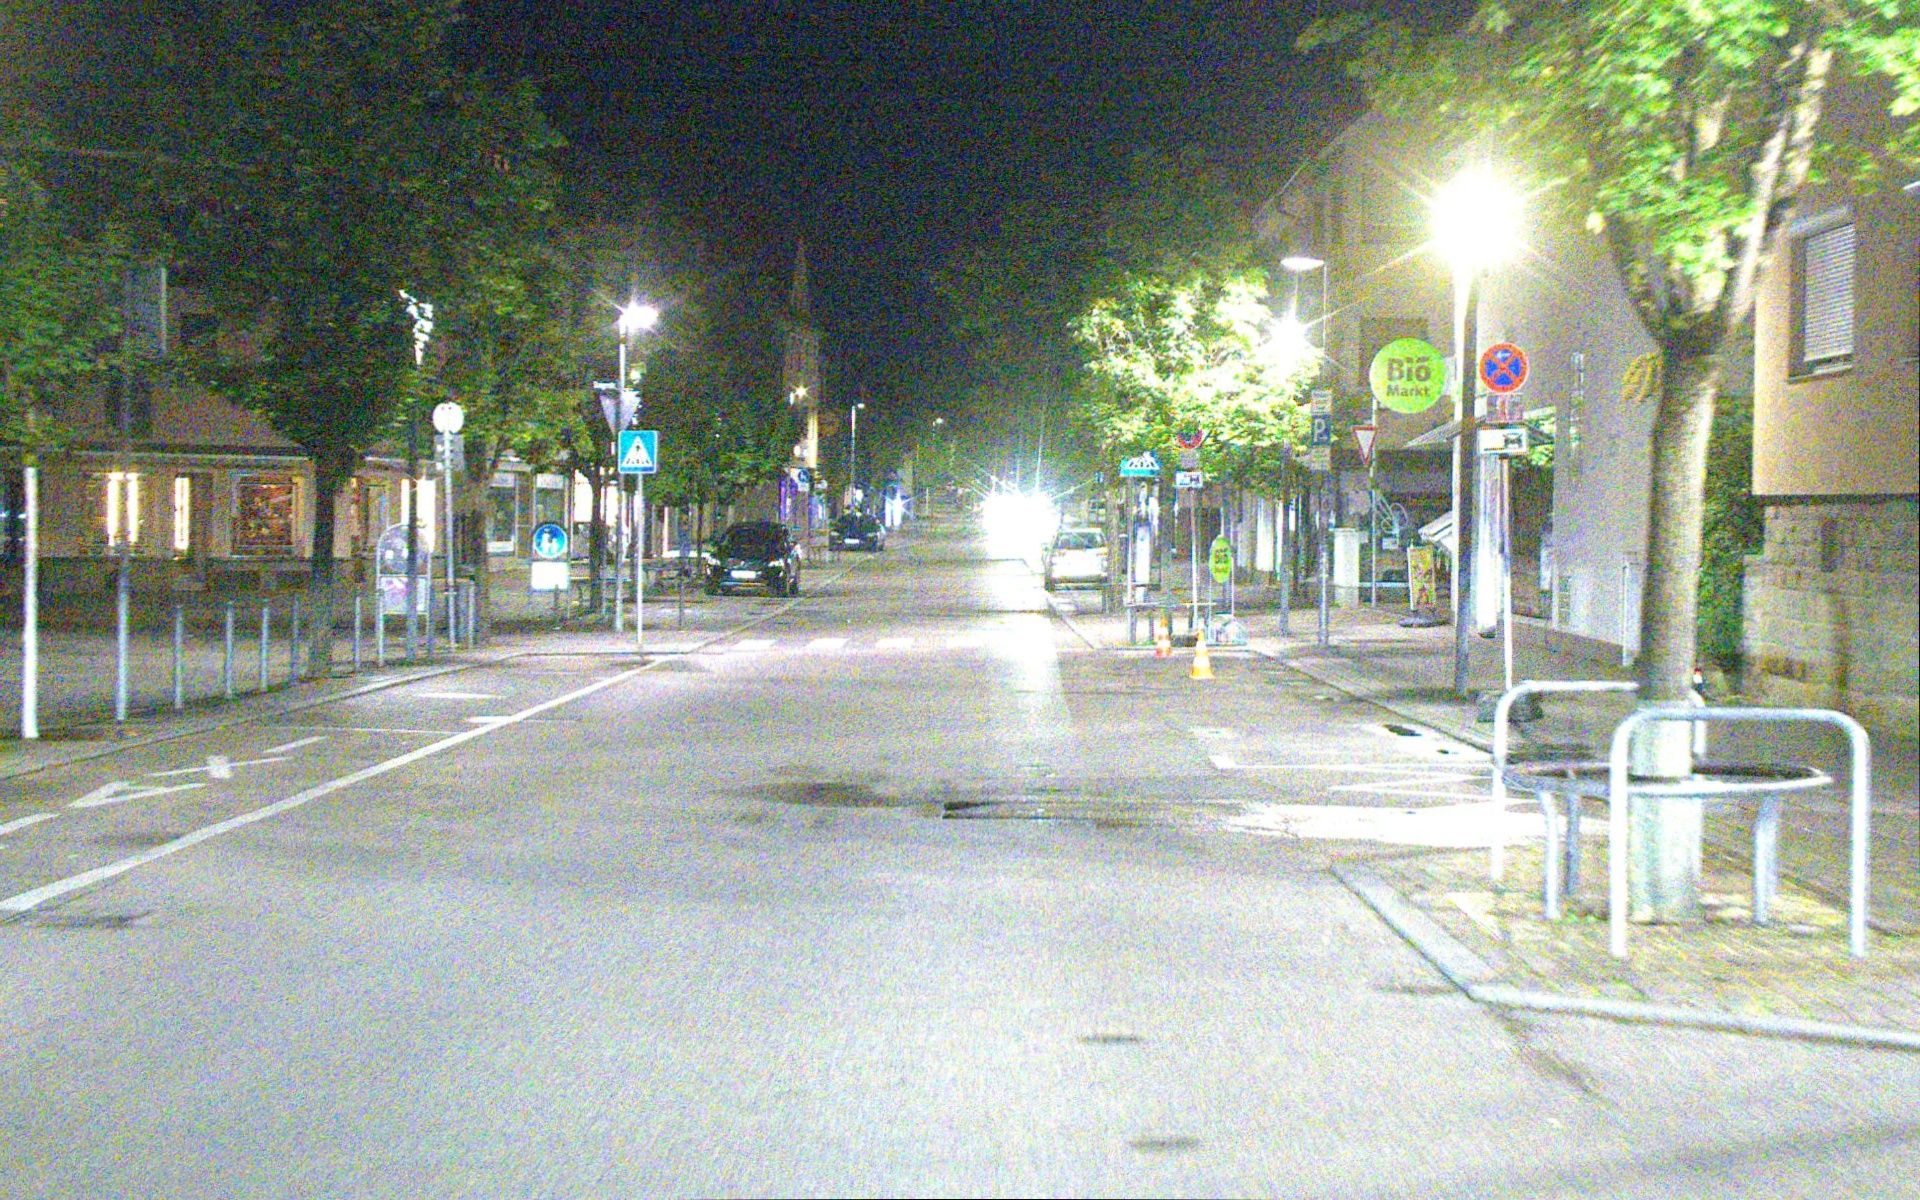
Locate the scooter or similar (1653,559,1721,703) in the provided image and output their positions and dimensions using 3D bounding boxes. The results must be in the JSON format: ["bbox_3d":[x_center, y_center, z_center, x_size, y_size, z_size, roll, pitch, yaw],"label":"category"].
[{"bbox_3d":[6.559,0.271,31.054,0.373,1.272,1.305,0,0,2],"label":"scooter or similar"}]

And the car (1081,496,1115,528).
[{"bbox_3d":[7.499,-4.794,186.699,1.775,1.646,4.364,0,2,2],"label":"car"}]

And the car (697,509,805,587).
[{"bbox_3d":[-4.802,-1.238,79.492,2.018,1.685,5.003,2,2,1],"label":"car"}]

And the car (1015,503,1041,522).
[{"bbox_3d":[4.686,-6.008,236.006,1.723,1.242,4.237,0,2,2],"label":"car"}]

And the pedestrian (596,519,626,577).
[{"bbox_3d":[-10.034,-1.497,98.867,0.769,1.650,0.817,0,3,2],"label":"pedestrian"}]

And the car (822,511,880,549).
[{"bbox_3d":[-4.202,-2.725,133.543,1.914,1.366,4.457,0,2,3],"label":"car"}]

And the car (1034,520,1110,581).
[{"bbox_3d":[2.749,-1.234,84.804,1.674,1.454,3.676,0,1,-1],"label":"car"}]
